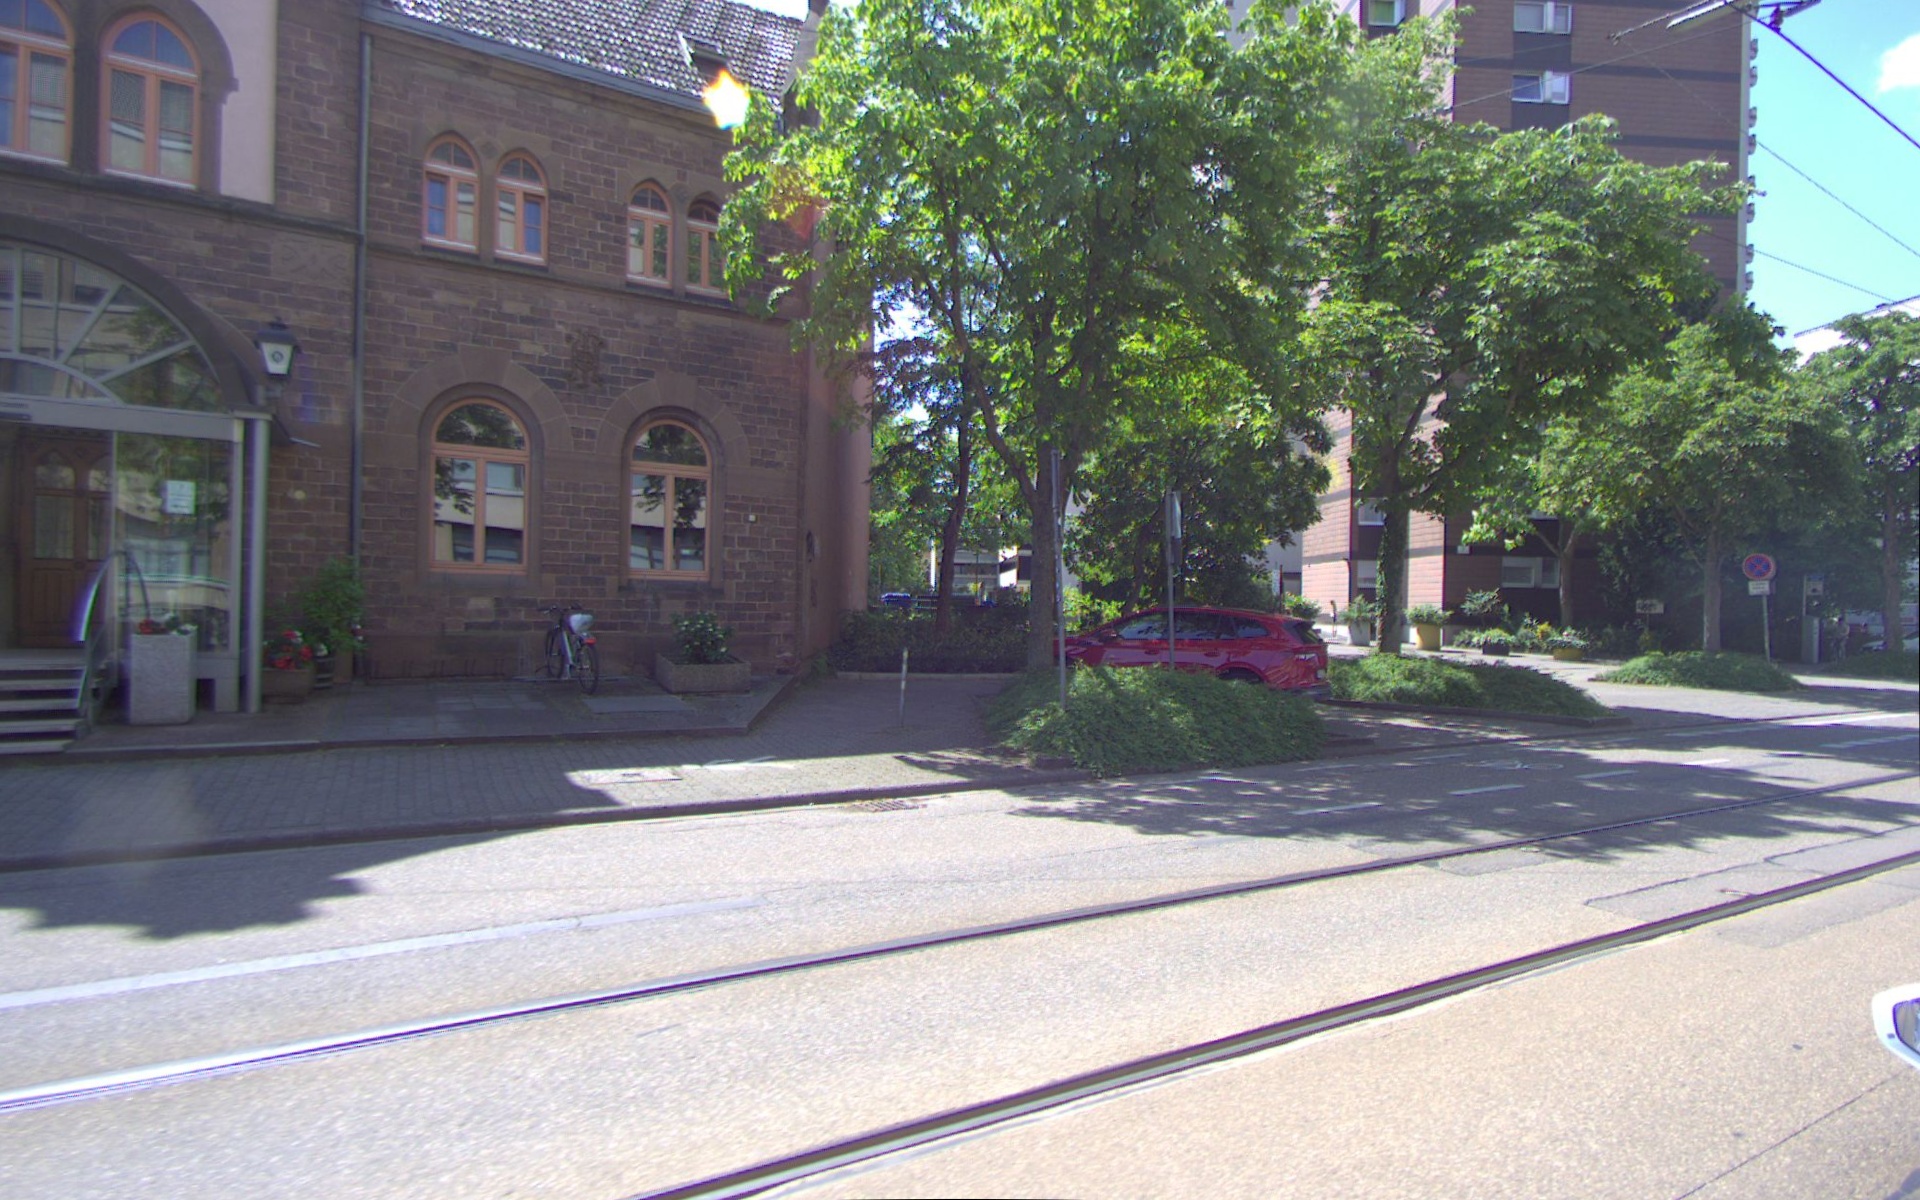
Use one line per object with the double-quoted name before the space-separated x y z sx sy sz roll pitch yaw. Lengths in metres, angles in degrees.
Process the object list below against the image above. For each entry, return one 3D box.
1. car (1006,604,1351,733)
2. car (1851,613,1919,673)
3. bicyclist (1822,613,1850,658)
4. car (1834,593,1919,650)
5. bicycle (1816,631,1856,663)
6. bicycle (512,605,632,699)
"car" 3.237 0.913 15.190 4.697 1.587 1.997 1 0 32
"car" 31.094 1.392 31.376 4.465 1.815 1.898 2 1 28
"bicyclist" 30.231 1.220 34.660 0.772 1.501 0.478 1 1 -32
"car" 45.972 1.113 47.910 6.592 2.599 2.185 3 0 0
"bicycle" 30.247 1.624 34.687 1.856 1.061 0.515 1 1 -33
"bicycle" -4.843 0.608 12.454 1.974 0.903 0.594 7 5 44
